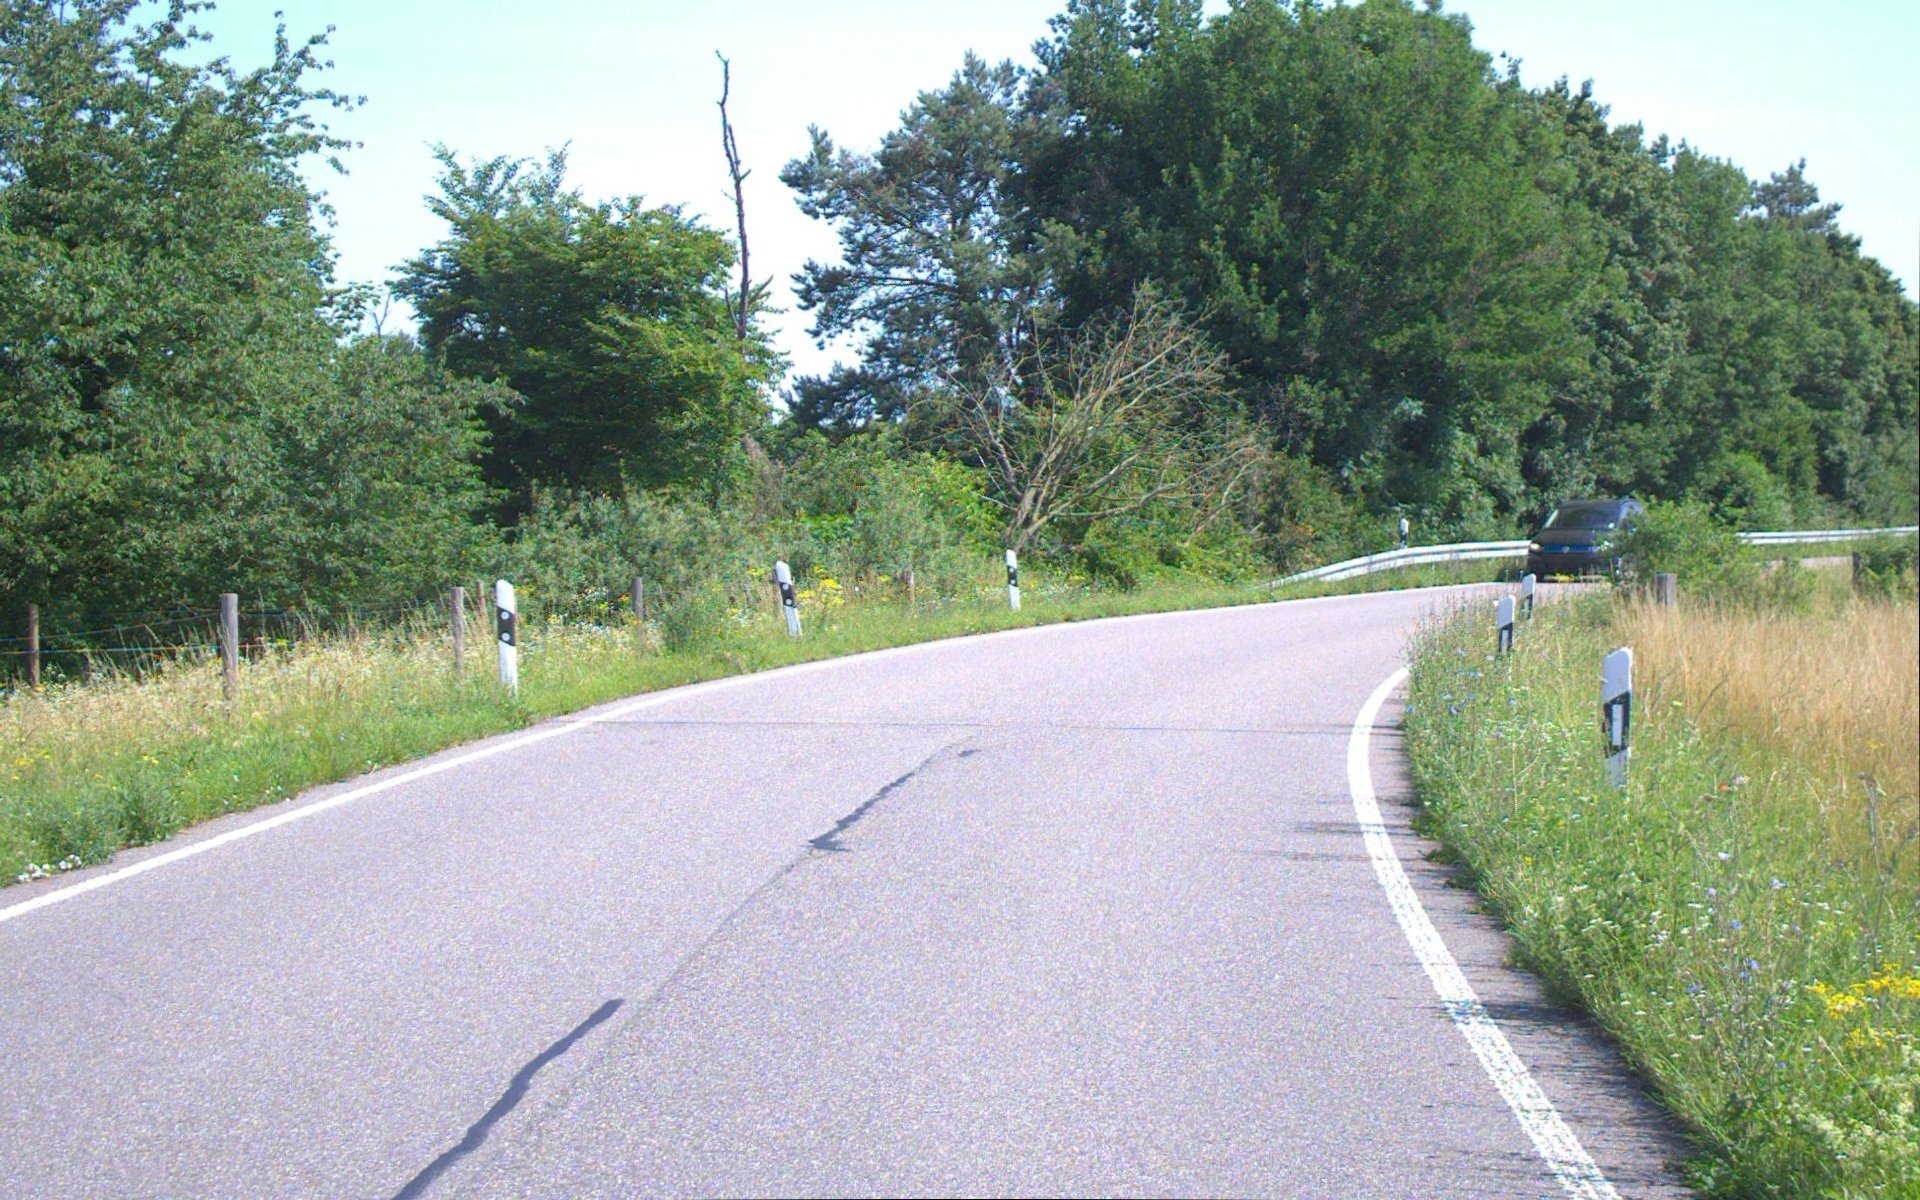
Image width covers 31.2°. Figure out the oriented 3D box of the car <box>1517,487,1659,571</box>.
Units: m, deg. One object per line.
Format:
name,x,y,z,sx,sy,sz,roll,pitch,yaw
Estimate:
car,12.668,-1.407,69.212,1.786,1.626,4.155,1,1,25
